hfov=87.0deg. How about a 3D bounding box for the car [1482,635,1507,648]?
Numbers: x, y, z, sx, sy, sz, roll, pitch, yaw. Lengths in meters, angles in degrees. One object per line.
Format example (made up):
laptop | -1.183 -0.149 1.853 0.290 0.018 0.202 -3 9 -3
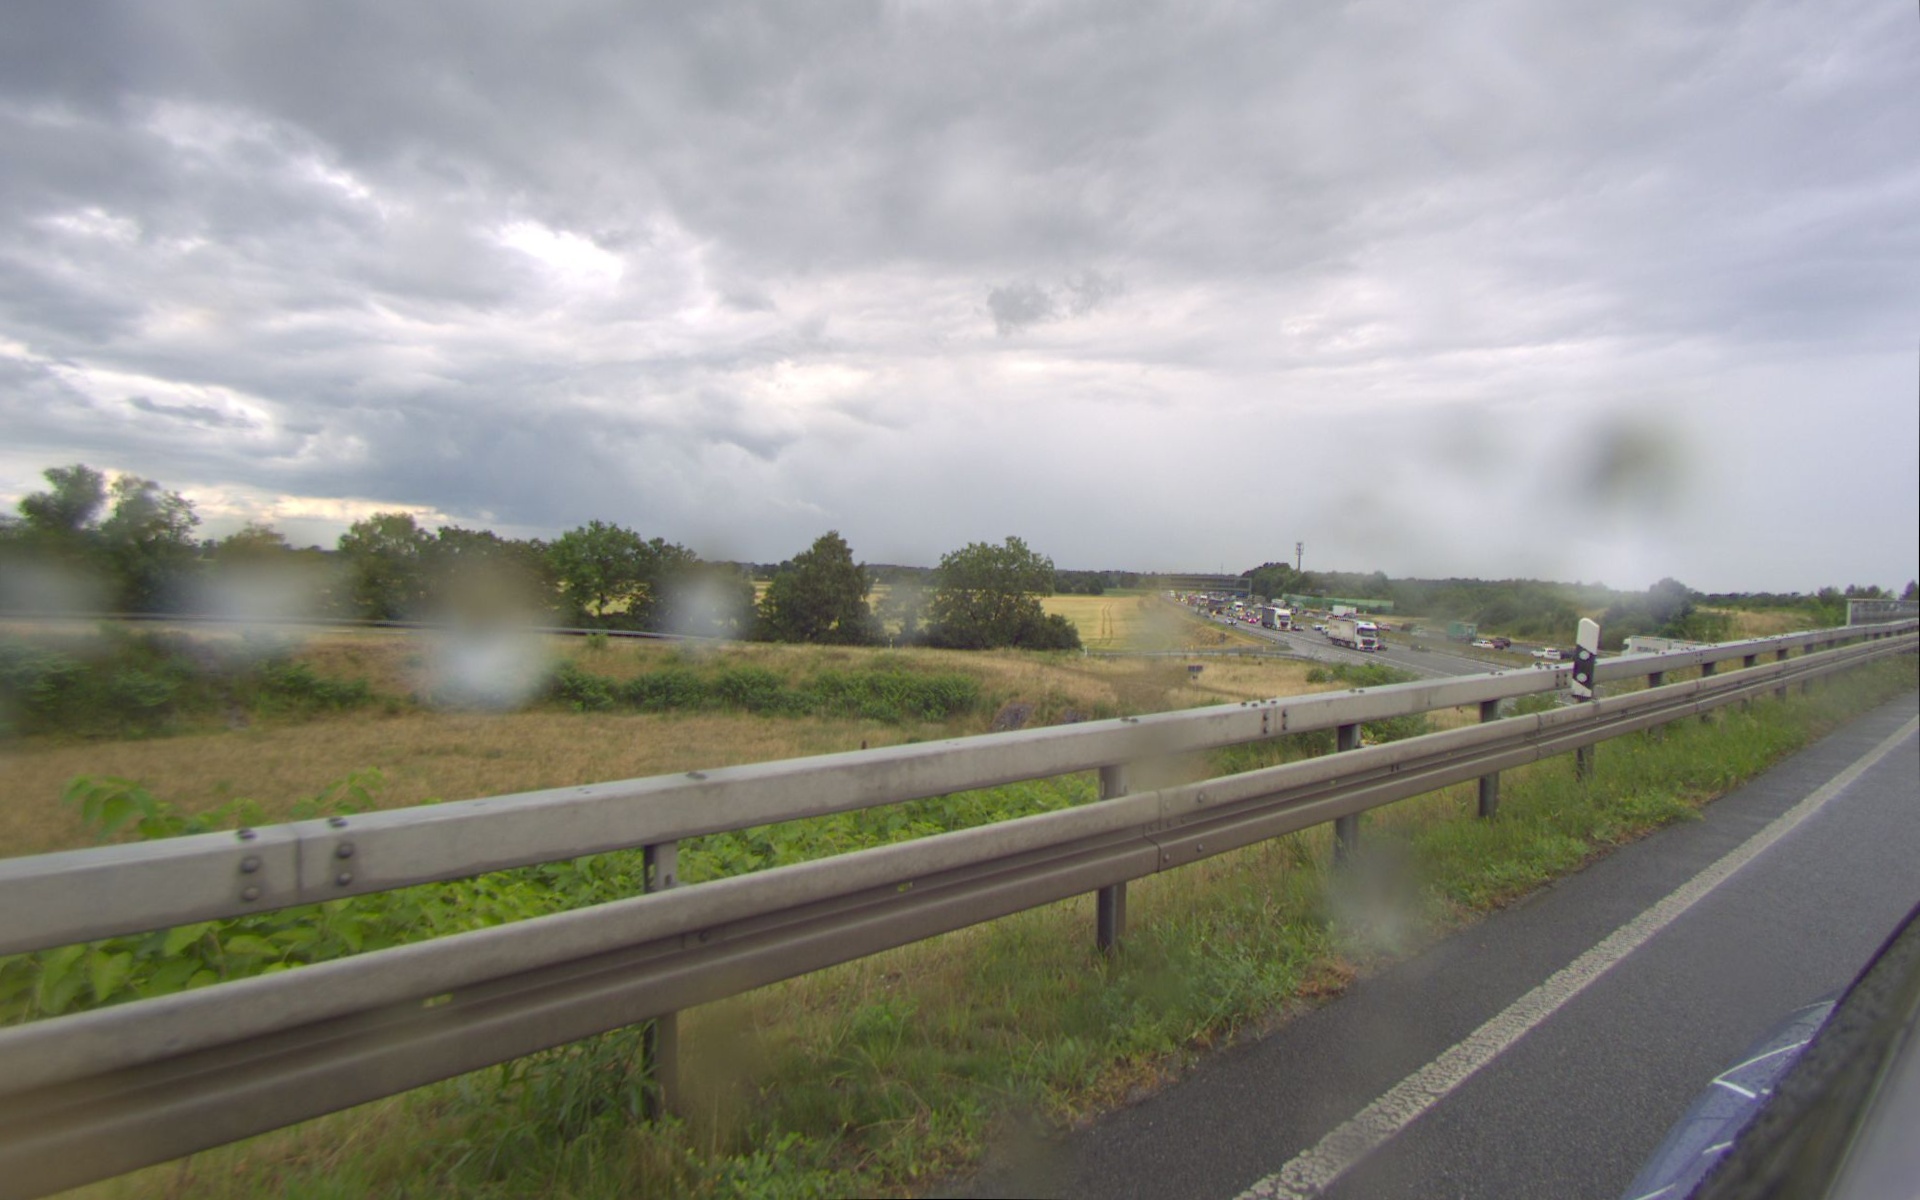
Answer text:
car | 83.487 6.454 158.072 1.824 1.690 4.717 0 0 5

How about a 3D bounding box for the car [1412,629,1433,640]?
car | 81.148 6.002 177.559 1.824 1.690 4.717 0 0 5

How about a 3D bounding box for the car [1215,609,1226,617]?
car | 62.178 3.145 241.818 1.825 1.690 4.715 1 0 7

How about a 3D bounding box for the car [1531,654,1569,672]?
car | 63.400 6.771 108.742 1.966 1.643 3.991 -4 -1 7

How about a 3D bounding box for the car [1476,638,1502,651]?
car | 78.336 6.525 149.884 1.824 1.690 4.717 0 0 5

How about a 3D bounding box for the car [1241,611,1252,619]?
car | 67.787 3.505 239.516 1.825 1.689 4.716 1 1 7

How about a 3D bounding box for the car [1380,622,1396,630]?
car | 89.509 5.425 211.499 1.825 1.690 4.715 0 0 7

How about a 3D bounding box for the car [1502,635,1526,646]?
car | 93.476 6.802 170.865 1.824 1.690 4.717 0 0 5

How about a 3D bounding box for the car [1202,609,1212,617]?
car | 59.541 3.172 243.810 1.825 1.690 4.715 0 0 7

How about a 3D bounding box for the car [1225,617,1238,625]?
car | 55.122 4.288 205.655 1.783 1.454 4.716 0 0 6

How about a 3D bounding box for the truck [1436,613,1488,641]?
truck | 90.042 4.720 182.029 3.543 4.594 15.595 0 0 8

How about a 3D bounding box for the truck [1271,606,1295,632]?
truck | 62.088 3.495 194.883 2.750 4.676 12.717 0 0 10

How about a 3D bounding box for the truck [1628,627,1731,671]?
truck | 87.963 5.857 124.306 3.540 4.594 14.085 0 0 5

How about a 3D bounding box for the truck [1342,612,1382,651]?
truck | 56.348 4.275 142.176 2.750 4.961 12.717 0 0 10

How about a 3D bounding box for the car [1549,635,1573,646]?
car | 103.955 6.964 175.104 1.825 1.690 4.715 0 0 7

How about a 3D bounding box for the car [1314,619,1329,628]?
car | 74.428 4.858 208.253 1.825 1.690 4.715 0 0 7

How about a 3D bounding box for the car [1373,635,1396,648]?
car | 60.656 5.938 144.579 1.825 1.690 4.715 0 0 7

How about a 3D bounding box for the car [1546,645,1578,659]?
car | 81.816 7.042 137.575 1.824 1.690 4.717 0 0 5

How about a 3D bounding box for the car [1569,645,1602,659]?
car | 85.101 7.069 137.772 1.824 1.690 4.717 0 0 5

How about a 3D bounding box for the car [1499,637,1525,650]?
car | 85.907 6.745 157.477 1.824 1.690 4.717 0 0 5

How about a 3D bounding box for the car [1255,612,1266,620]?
car | 72.300 3.821 243.749 1.825 1.690 4.715 0 0 7

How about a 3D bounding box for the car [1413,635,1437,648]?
car | 68.122 6.049 148.172 1.825 1.690 4.715 0 0 7

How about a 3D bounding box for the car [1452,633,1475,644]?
car | 83.997 6.424 168.914 1.824 1.690 4.717 0 0 5

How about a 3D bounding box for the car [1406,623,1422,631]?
car | 97.179 5.743 216.812 1.825 1.690 4.715 0 0 7

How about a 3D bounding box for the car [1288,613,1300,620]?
car | 79.098 3.911 239.496 1.825 1.690 4.715 0 0 7

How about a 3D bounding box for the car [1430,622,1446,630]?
car | 108.879 5.921 230.421 1.825 1.690 4.715 0 0 7

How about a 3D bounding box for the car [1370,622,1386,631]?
car | 84.507 5.386 204.480 1.825 1.690 4.715 0 0 7

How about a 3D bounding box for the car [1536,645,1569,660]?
car | 76.589 6.796 130.811 1.824 1.690 4.717 0 0 5

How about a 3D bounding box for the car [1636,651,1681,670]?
car | 74.385 6.433 107.827 1.824 1.690 4.717 0 0 5
